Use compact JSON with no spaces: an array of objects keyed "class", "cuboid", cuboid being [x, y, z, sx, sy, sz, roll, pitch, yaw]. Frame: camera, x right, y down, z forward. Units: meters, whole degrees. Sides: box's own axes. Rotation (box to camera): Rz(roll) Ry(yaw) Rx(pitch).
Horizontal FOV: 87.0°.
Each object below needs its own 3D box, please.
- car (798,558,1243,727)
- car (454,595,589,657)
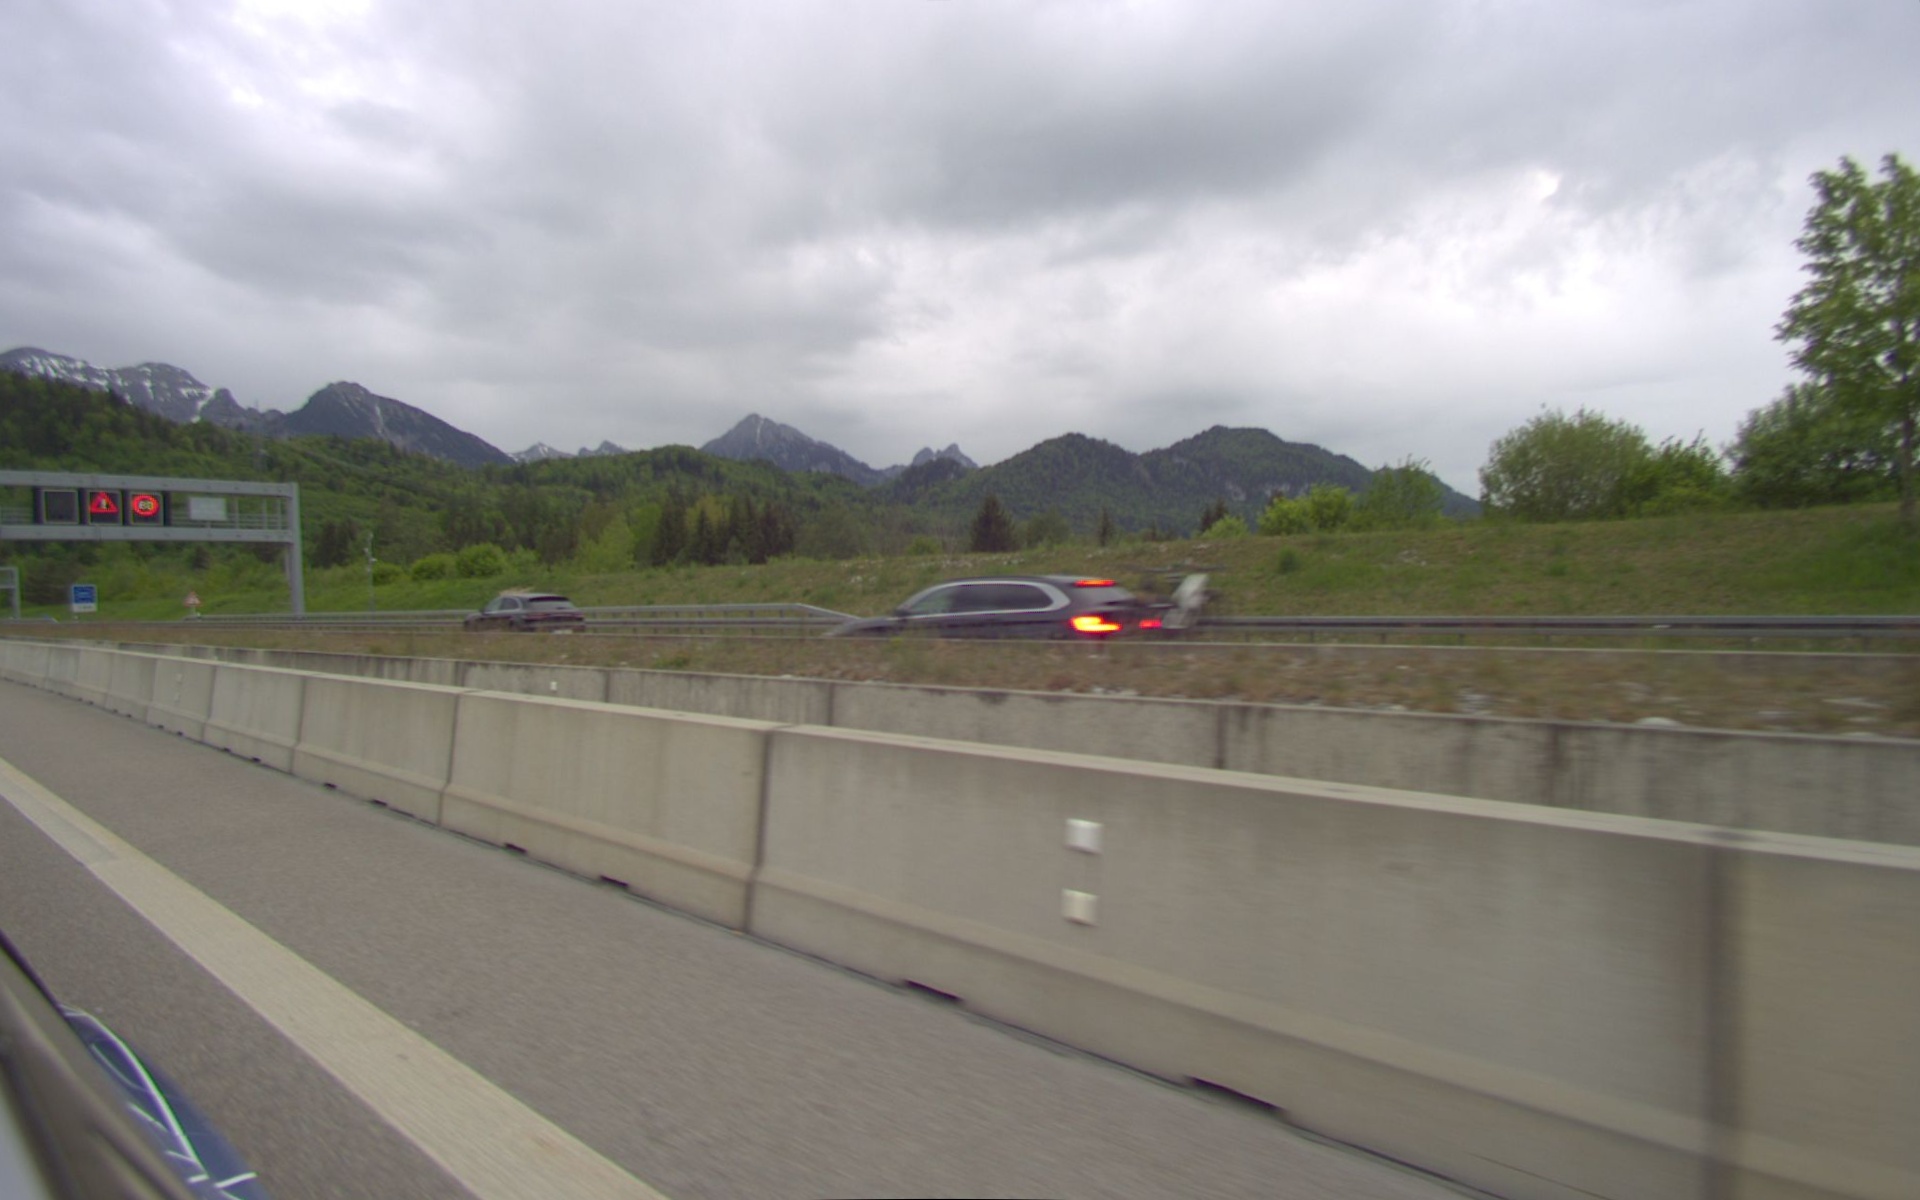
[{"class":"car","cuboid":[0.527,0.476,13.061,5.747,1.749,1.859,-2,0,41]},{"class":"car","cuboid":[-12.524,0.724,28.784,4.402,1.620,1.750,-1,0,40]}]
